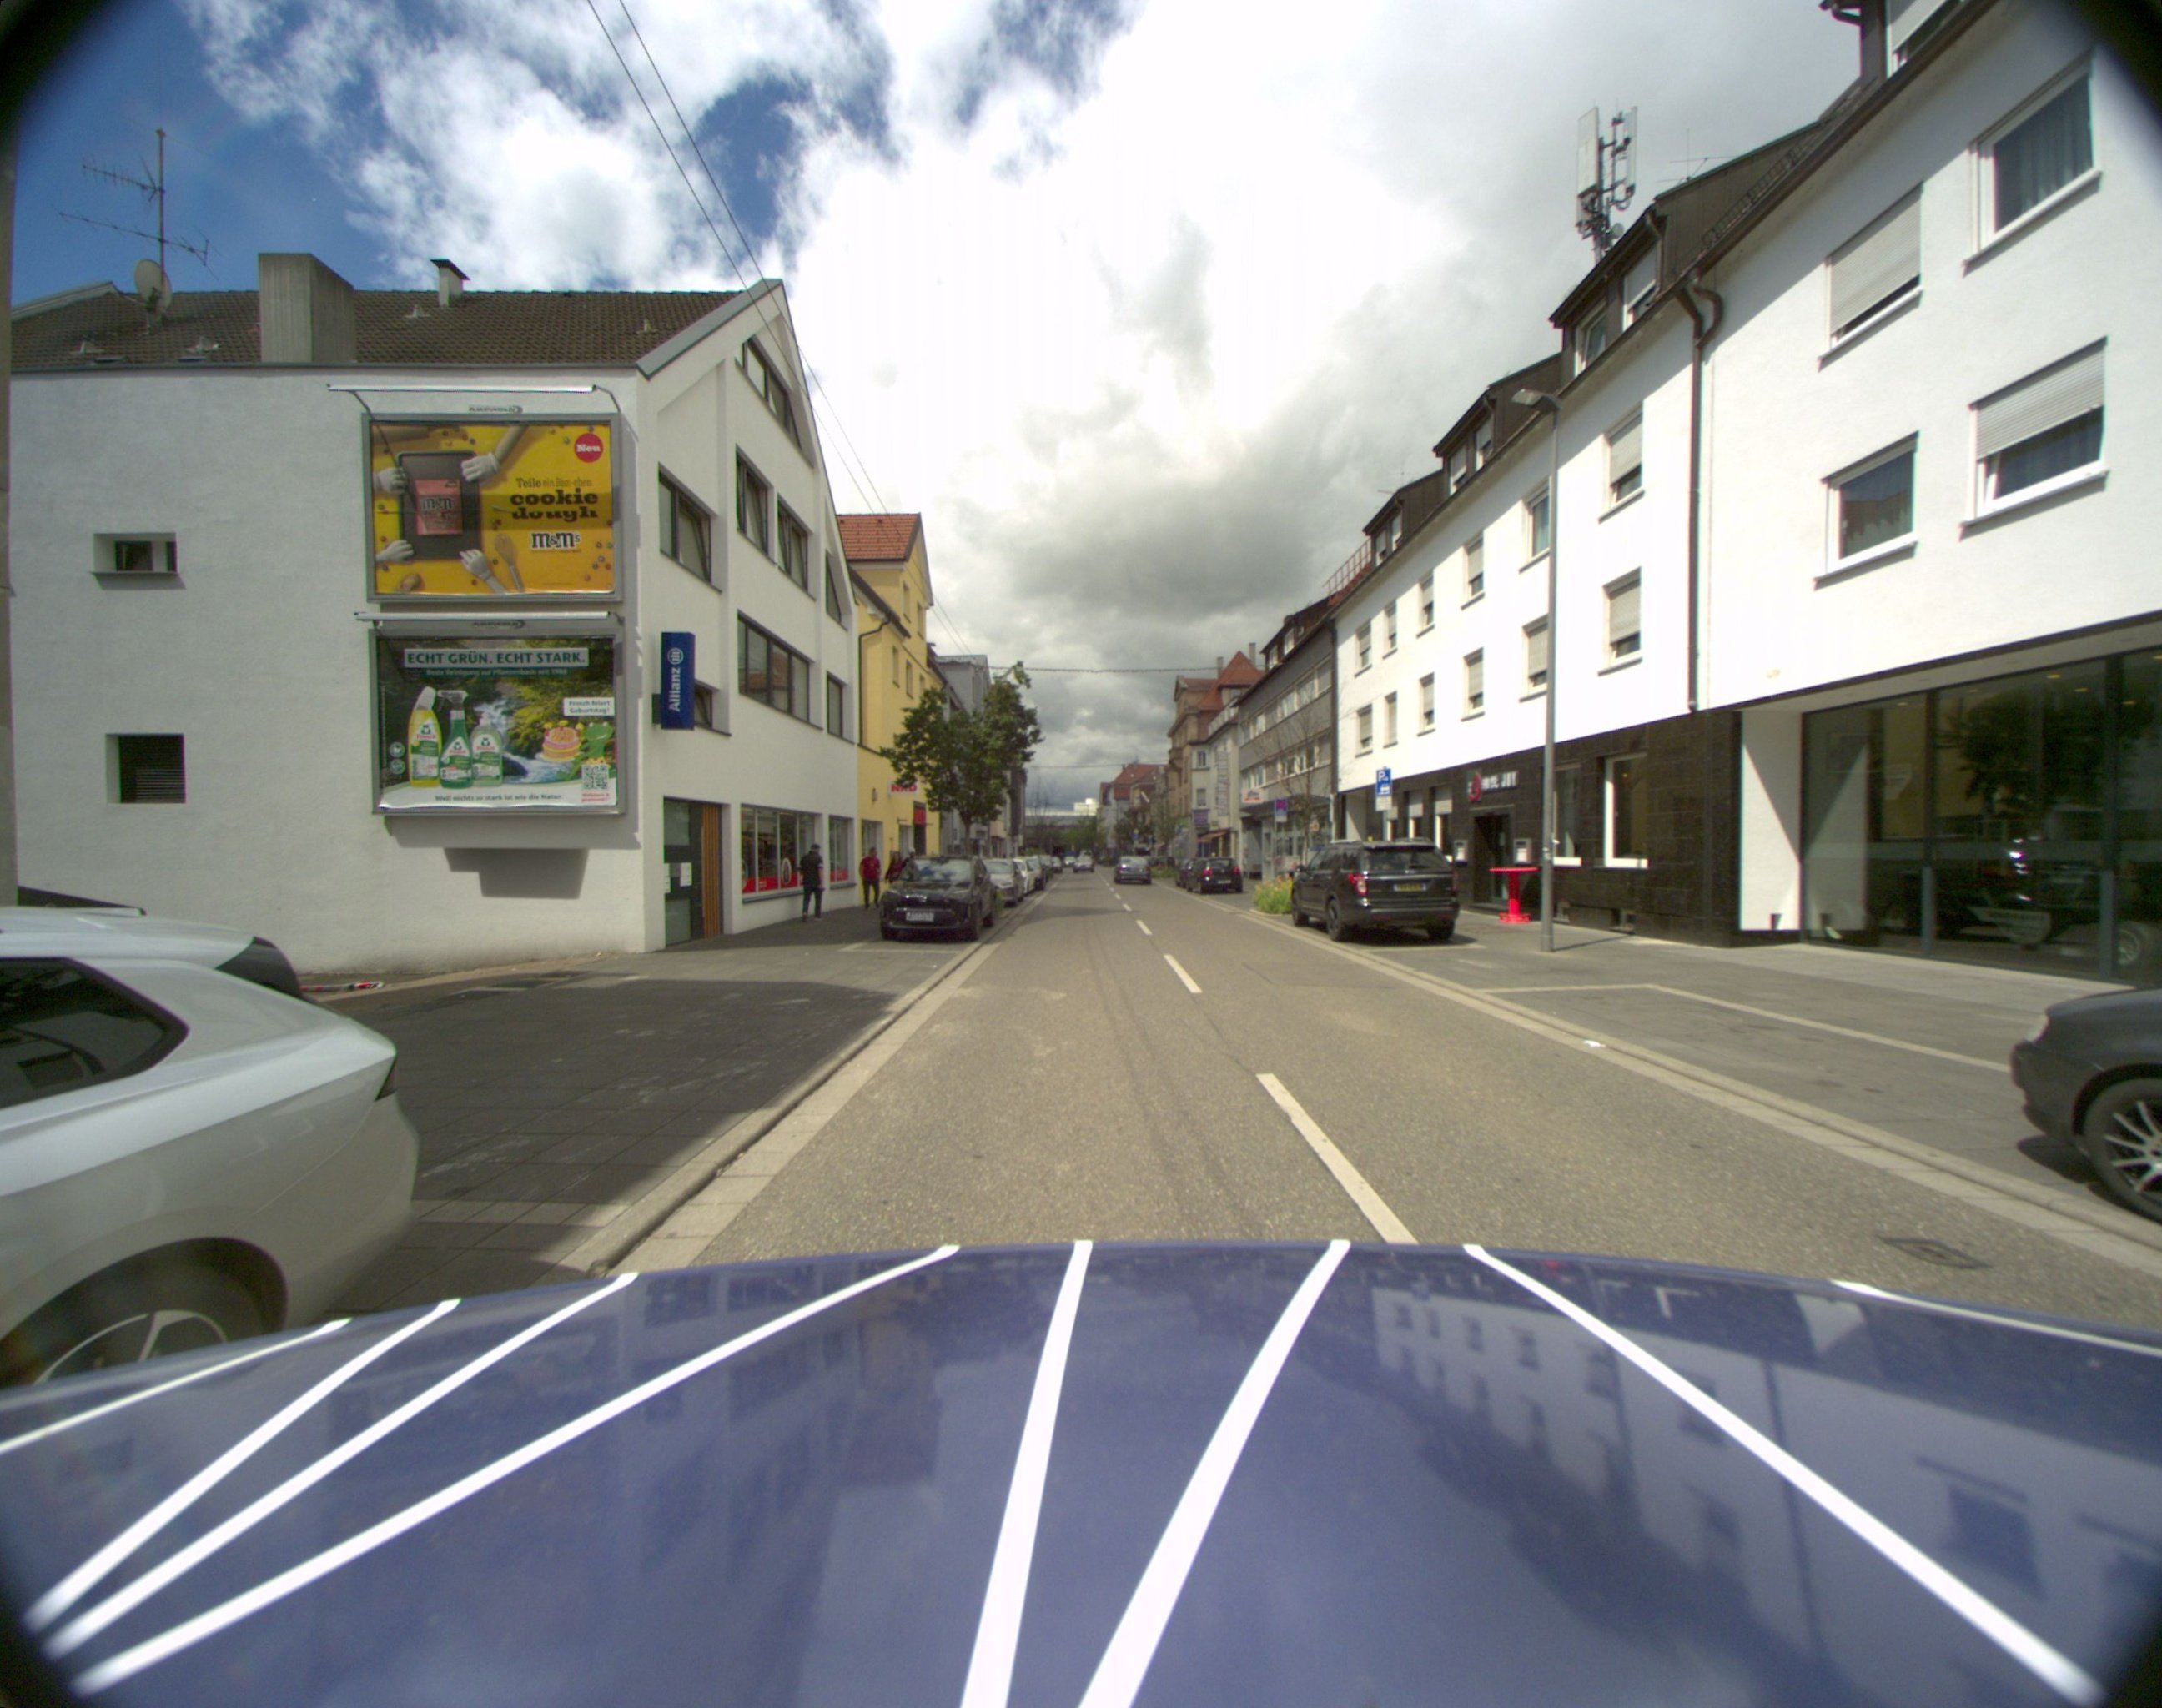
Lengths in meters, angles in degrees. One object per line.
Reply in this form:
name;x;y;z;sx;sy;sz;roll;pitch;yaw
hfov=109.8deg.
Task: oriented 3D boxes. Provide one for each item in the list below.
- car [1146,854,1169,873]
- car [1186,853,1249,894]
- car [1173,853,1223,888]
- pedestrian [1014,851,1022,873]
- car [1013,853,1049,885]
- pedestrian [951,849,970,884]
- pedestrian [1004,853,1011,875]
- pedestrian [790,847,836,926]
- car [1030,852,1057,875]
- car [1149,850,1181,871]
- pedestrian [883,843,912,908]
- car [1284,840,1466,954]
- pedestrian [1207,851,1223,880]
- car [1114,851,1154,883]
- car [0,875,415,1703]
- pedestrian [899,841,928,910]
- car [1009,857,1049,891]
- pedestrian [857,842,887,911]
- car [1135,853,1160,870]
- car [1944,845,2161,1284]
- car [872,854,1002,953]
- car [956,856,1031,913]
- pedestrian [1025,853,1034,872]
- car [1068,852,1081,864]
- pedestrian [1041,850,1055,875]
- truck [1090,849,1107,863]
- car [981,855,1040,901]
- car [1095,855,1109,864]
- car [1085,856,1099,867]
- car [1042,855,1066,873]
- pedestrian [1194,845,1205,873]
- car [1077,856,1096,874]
car;6.100;0.731;60.844;1.590;1.406;3.668;-2;1;2
car;5.569;0.748;31.484;1.795;1.495;4.177;-2;1;0
car;5.713;0.746;37.573;1.794;1.504;4.712;-2;1;1
pedestrian;-4.892;0.602;59.095;0.537;1.708;0.606;-2;2;-1
car;-2.661;0.789;41.215;1.693;1.565;3.755;-2;1;-1
pedestrian;-5.342;0.539;33.705;0.751;1.544;0.726;0;1;0
pedestrian;-5.705;0.750;59.091;0.437;1.708;0.537;-2;2;-2
pedestrian;-6.029;0.709;17.096;0.743;1.727;0.757;1;2;1
car;-2.669;0.686;55.205;1.804;1.594;4.203;1;0;-1
car;6.140;0.472;56.082;1.602;1.437;3.554;-1;0;-7
pedestrian;-5.214;0.601;21.609;0.589;1.830;0.576;-2;2;1
car;5.286;0.650;14.394;1.820;1.745;4.669;-2;1;3
pedestrian;7.738;0.645;43.905;0.733;1.609;0.651;-2;2;-4
car;2.848;0.683;41.818;1.910;1.554;4.645;1;1;1
car;-2.982;0.828;0.129;1.725;1.567;4.430;-2;-1;2
pedestrian;-4.582;0.573;20.805;0.589;1.830;0.576;-2;2;1
car;-2.369;0.930;35.626;1.694;1.463;4.523;-2;-1;-2
pedestrian;-5.690;0.603;20.730;0.589;1.830;0.576;-2;2;1
car;6.304;0.681;72.315;1.850;1.390;4.035;-2;1;-2
car;5.224;0.870;1.606;1.820;1.745;4.463;-2;1;2
car;-2.678;0.843;15.069;1.725;1.568;4.108;-2;1;0
car;-2.658;0.885;24.003;1.725;1.467;4.353;-2;1;1
pedestrian;-4.829;0.777;71.314;0.745;1.708;0.655;-1;1;-1
car;-0.900;0.504;104.779;1.804;1.594;4.203;1;0;-1
pedestrian;-2.516;0.637;57.834;0.978;1.853;0.864;1;1;-1
truck;2.974;0.332;131.498;2.112;2.292;6.472;-2;1;-5
car;-2.655;0.867;29.570;1.634;1.467;4.957;-2;1;2
car;3.358;0.868;121.592;1.722;1.296;4.464;-1;-1;-6
car;1.594;1.060;111.470;1.537;1.521;3.756;-2;1;-5
car;-2.376;0.863;68.379;1.711;1.412;4.318;-2;1;3
pedestrian;7.722;0.322;49.450;0.549;1.747;0.728;-2;2;-3
car;0.552;0.997;70.490;1.724;1.517;3.598;0;0;1
